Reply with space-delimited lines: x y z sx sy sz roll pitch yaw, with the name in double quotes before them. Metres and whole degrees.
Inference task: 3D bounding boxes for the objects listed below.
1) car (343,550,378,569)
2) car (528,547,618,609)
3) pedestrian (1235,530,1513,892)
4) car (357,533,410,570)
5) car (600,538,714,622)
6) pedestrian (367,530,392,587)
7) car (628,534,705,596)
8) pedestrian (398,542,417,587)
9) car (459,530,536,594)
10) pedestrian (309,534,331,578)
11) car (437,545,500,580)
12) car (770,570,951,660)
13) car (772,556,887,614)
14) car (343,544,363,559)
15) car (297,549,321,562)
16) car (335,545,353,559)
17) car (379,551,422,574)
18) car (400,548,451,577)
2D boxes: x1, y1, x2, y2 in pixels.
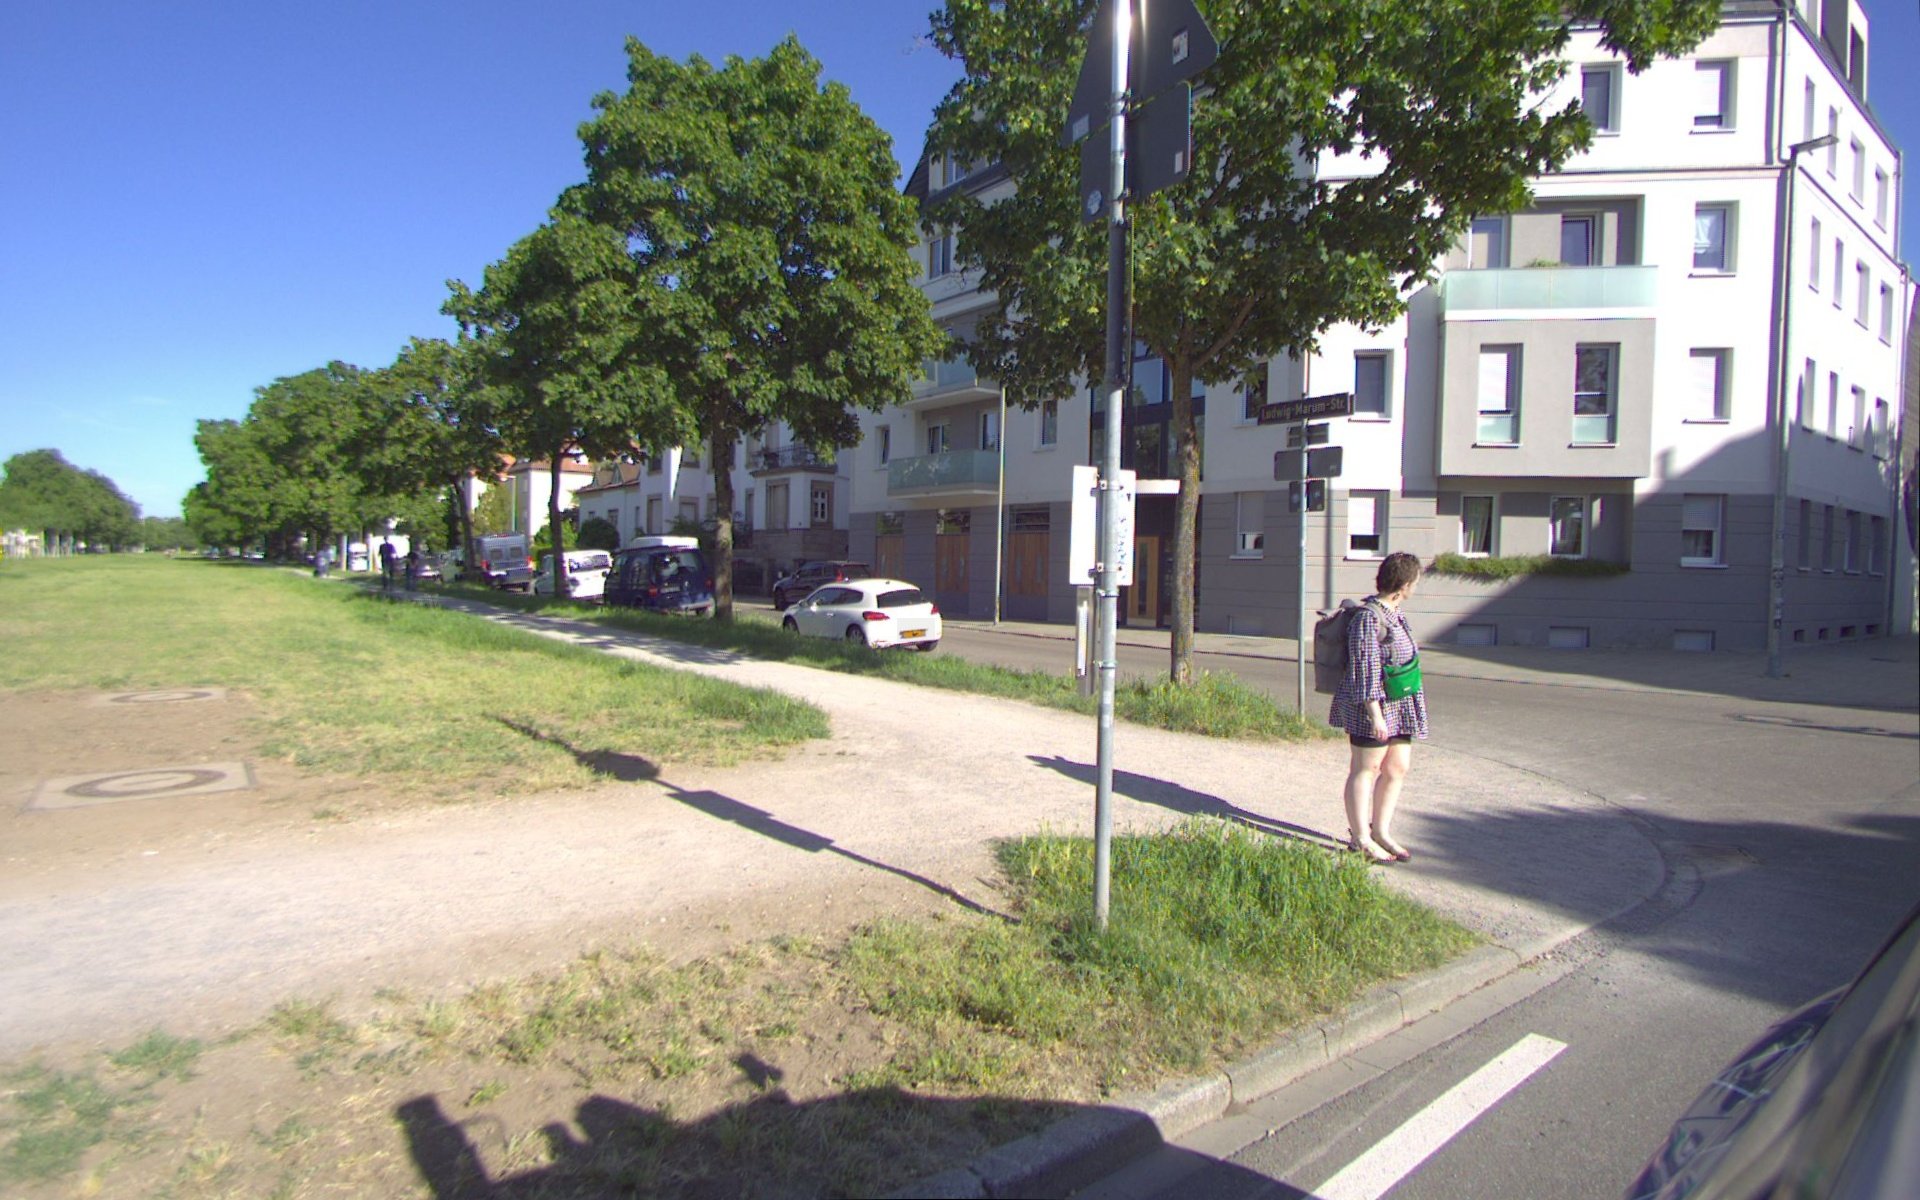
"car" -48.870 -3.318 82.494 2.042 1.484 4.728 0 2 -36
"car" -13.493 -0.828 35.127 1.842 1.906 4.425 -5 5 -35
"pedestrian" 2.292 0.520 5.605 1.084 1.693 0.902 8 5 35
"car" -39.954 -3.373 70.034 2.504 2.362 5.920 0 2 -36
"car" -8.578 -0.639 28.489 1.752 2.108 3.994 -5 5 -36
"pedestrian" -19.649 -1.417 34.267 0.633 1.900 0.629 0 2 -39
"car" -12.878 -1.575 44.222 1.986 2.579 3.994 -1 3 -36
"pedestrian" -18.910 -1.214 34.630 0.487 1.524 0.535 1 2 -37
"car" -20.359 -1.717 44.441 2.153 2.614 4.288 -5 5 -36
"pedestrian" -28.139 -1.934 44.494 0.711 1.900 0.629 0 2 -39
"car" -24.351 -1.865 50.044 2.047 1.618 4.288 0 2 -36
"car" -2.072 0.209 20.166 1.709 1.450 3.993 -5 5 -37
"car" -4.268 -0.553 32.556 1.861 1.703 4.289 -1 3 -36
"car" -78.029 -6.222 130.064 1.831 1.868 3.995 2 2 -36
"car" -76.490 -5.250 118.868 2.042 1.484 4.728 0 2 -36
"car" -85.642 -6.686 140.606 1.831 1.868 3.994 0 2 -36
"car" -35.949 -2.435 65.001 1.898 1.361 4.110 0 2 -36
"car" -31.053 -2.200 58.747 2.047 1.618 4.288 0 2 -36
